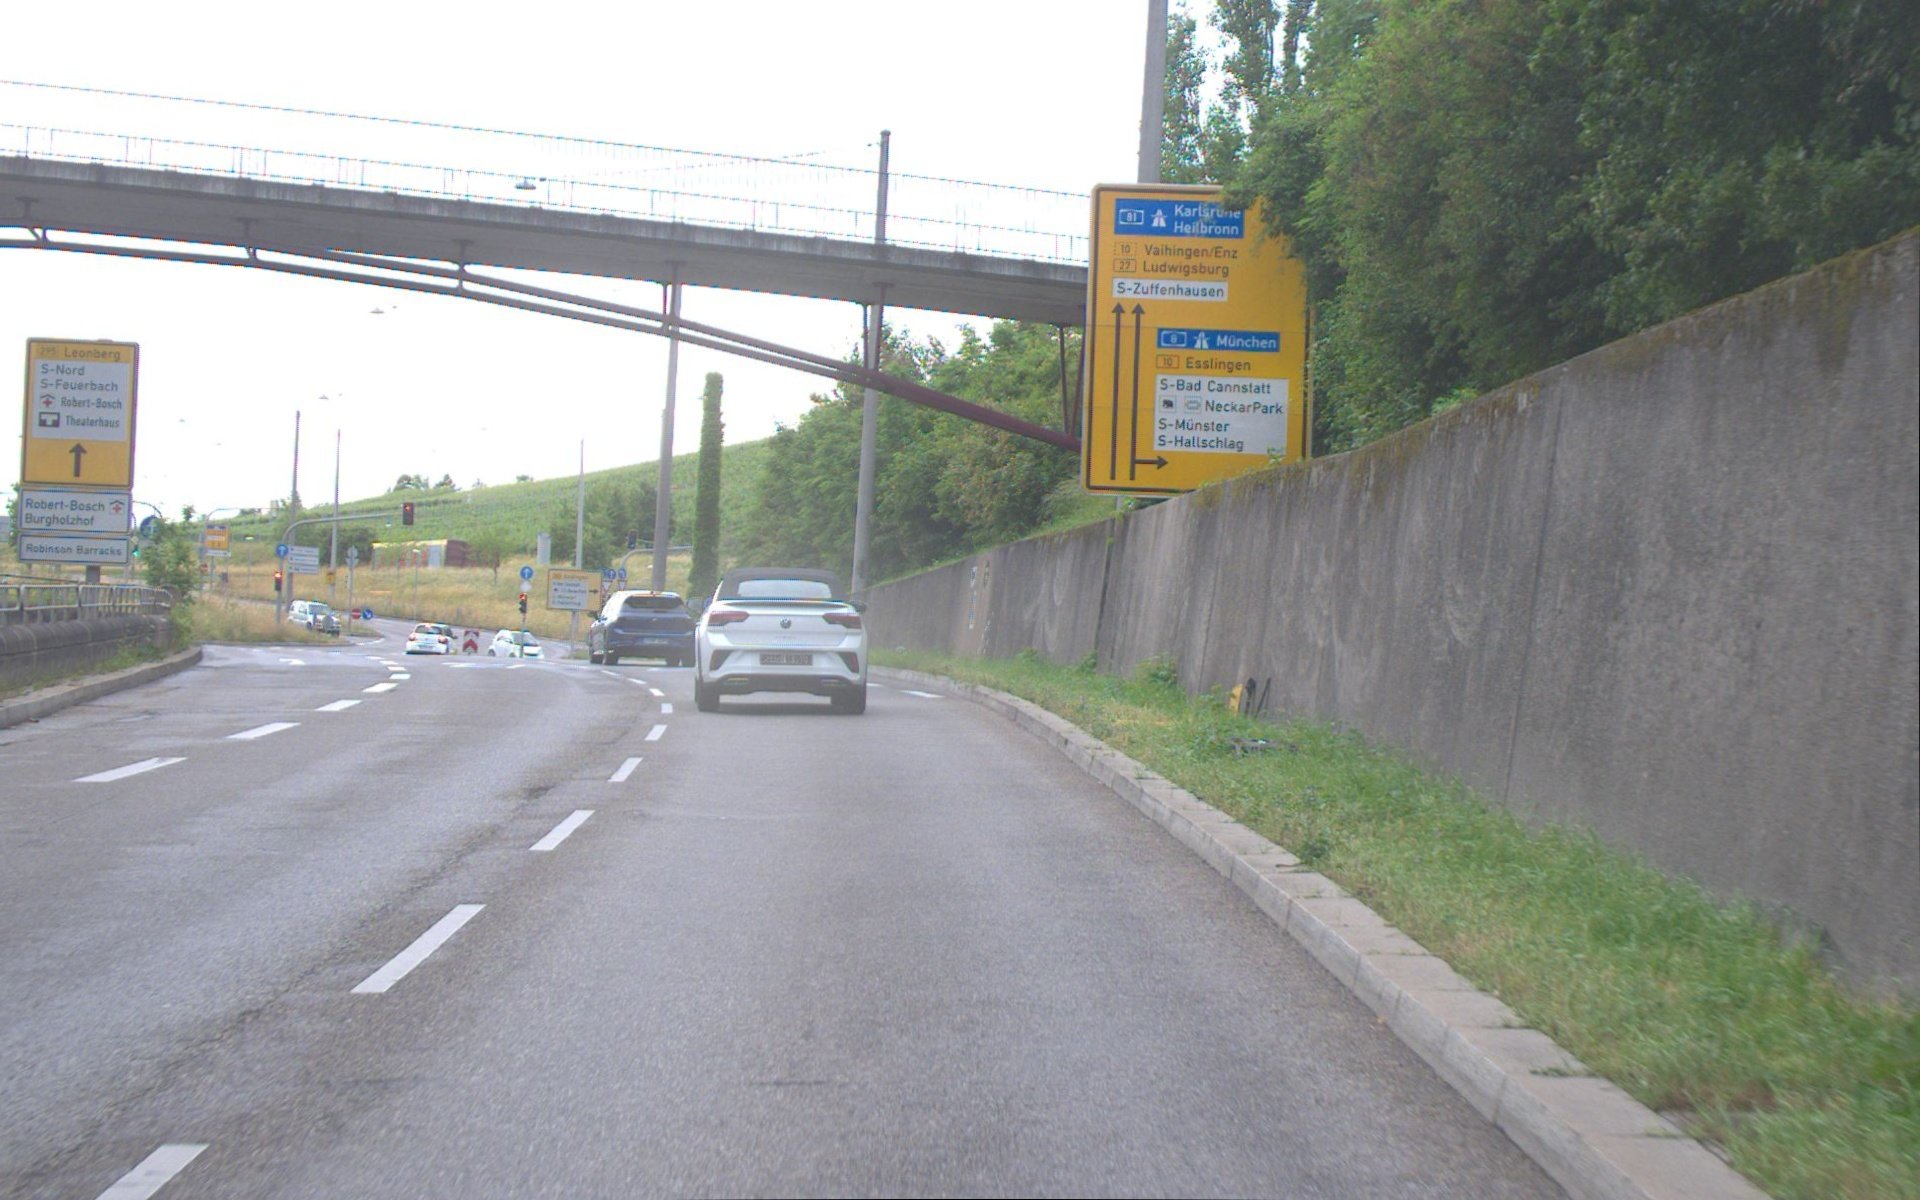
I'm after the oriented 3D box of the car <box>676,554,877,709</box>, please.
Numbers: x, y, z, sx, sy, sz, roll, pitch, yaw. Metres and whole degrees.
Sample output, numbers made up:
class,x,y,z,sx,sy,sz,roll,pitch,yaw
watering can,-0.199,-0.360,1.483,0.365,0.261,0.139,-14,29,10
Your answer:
class,x,y,z,sx,sy,sz,roll,pitch,yaw
car,-2.057,0.298,37.419,1.995,1.573,4.126,0,1,-6

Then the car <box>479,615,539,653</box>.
class,x,y,z,sx,sy,sz,roll,pitch,yaw
car,-20.465,1.557,156.118,1.775,1.514,3.723,5,-2,6

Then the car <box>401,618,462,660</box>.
class,x,y,z,sx,sy,sz,roll,pitch,yaw
car,-21.684,1.629,141.205,1.774,1.514,3.724,5,-2,1

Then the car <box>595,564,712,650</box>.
class,x,y,z,sx,sy,sz,roll,pitch,yaw
car,-6.019,0.120,67.071,1.926,1.594,4.063,0,1,-10
